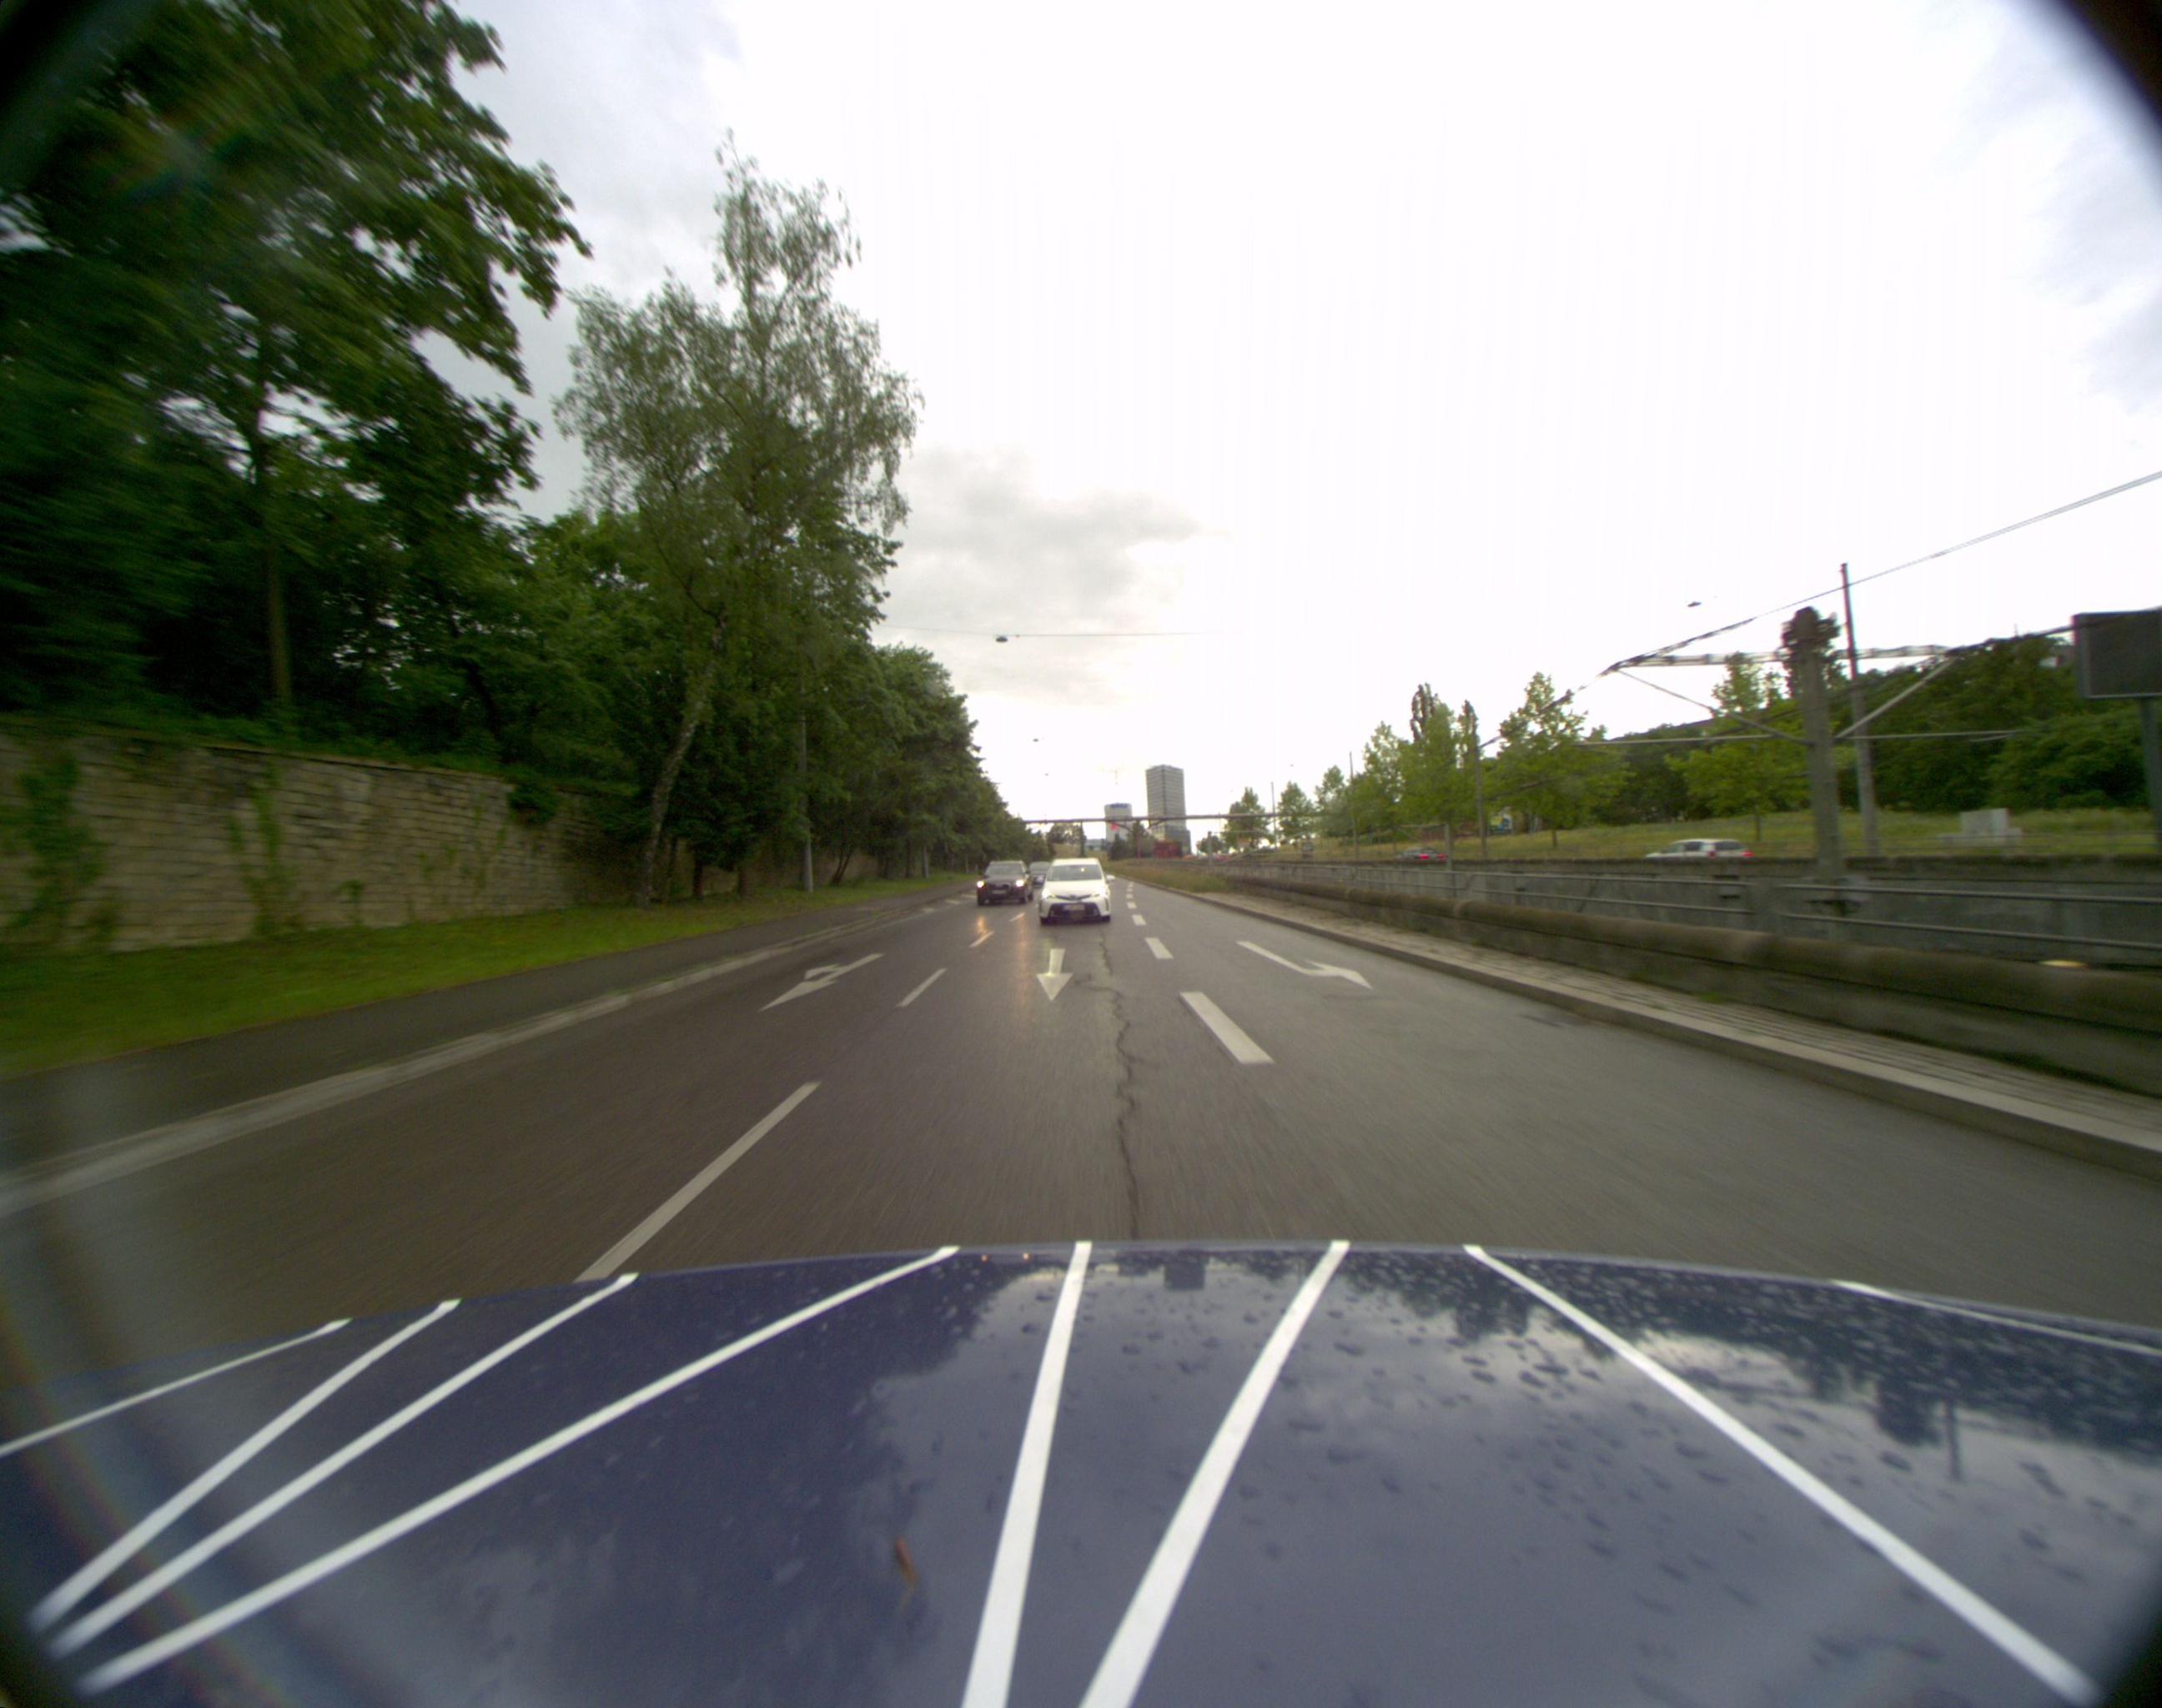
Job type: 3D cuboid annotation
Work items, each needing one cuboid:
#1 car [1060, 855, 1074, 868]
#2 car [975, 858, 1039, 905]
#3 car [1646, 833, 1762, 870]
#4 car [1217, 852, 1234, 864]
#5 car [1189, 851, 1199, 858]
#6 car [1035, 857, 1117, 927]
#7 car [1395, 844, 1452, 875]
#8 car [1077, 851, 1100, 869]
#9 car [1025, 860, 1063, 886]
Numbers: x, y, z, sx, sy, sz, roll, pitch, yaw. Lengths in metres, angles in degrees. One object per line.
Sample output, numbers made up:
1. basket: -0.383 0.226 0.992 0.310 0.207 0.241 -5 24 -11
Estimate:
1. car: -2.085 1.194 113.708 1.998 1.761 4.000 -4 -1 0
2. car: -2.767 0.988 29.229 1.927 1.591 4.279 -1 0 1
3. car: 24.363 -0.058 29.870 1.559 1.284 3.559 -3 -1 0
4. car: 23.277 0.664 122.542 1.895 1.634 4.357 -5 0 0
5. car: 28.018 0.218 188.142 1.661 1.519 4.435 -3 -1 0
6. car: -0.021 0.926 20.276 1.924 1.604 4.376 -2 0 3
7. car: 24.266 0.370 54.022 1.896 1.959 4.034 -5 0 -3
8. car: 0.812 0.595 76.592 1.998 1.761 4.002 -1 -1 4
9. car: -2.152 1.105 45.122 1.845 1.377 4.001 -2 0 3
